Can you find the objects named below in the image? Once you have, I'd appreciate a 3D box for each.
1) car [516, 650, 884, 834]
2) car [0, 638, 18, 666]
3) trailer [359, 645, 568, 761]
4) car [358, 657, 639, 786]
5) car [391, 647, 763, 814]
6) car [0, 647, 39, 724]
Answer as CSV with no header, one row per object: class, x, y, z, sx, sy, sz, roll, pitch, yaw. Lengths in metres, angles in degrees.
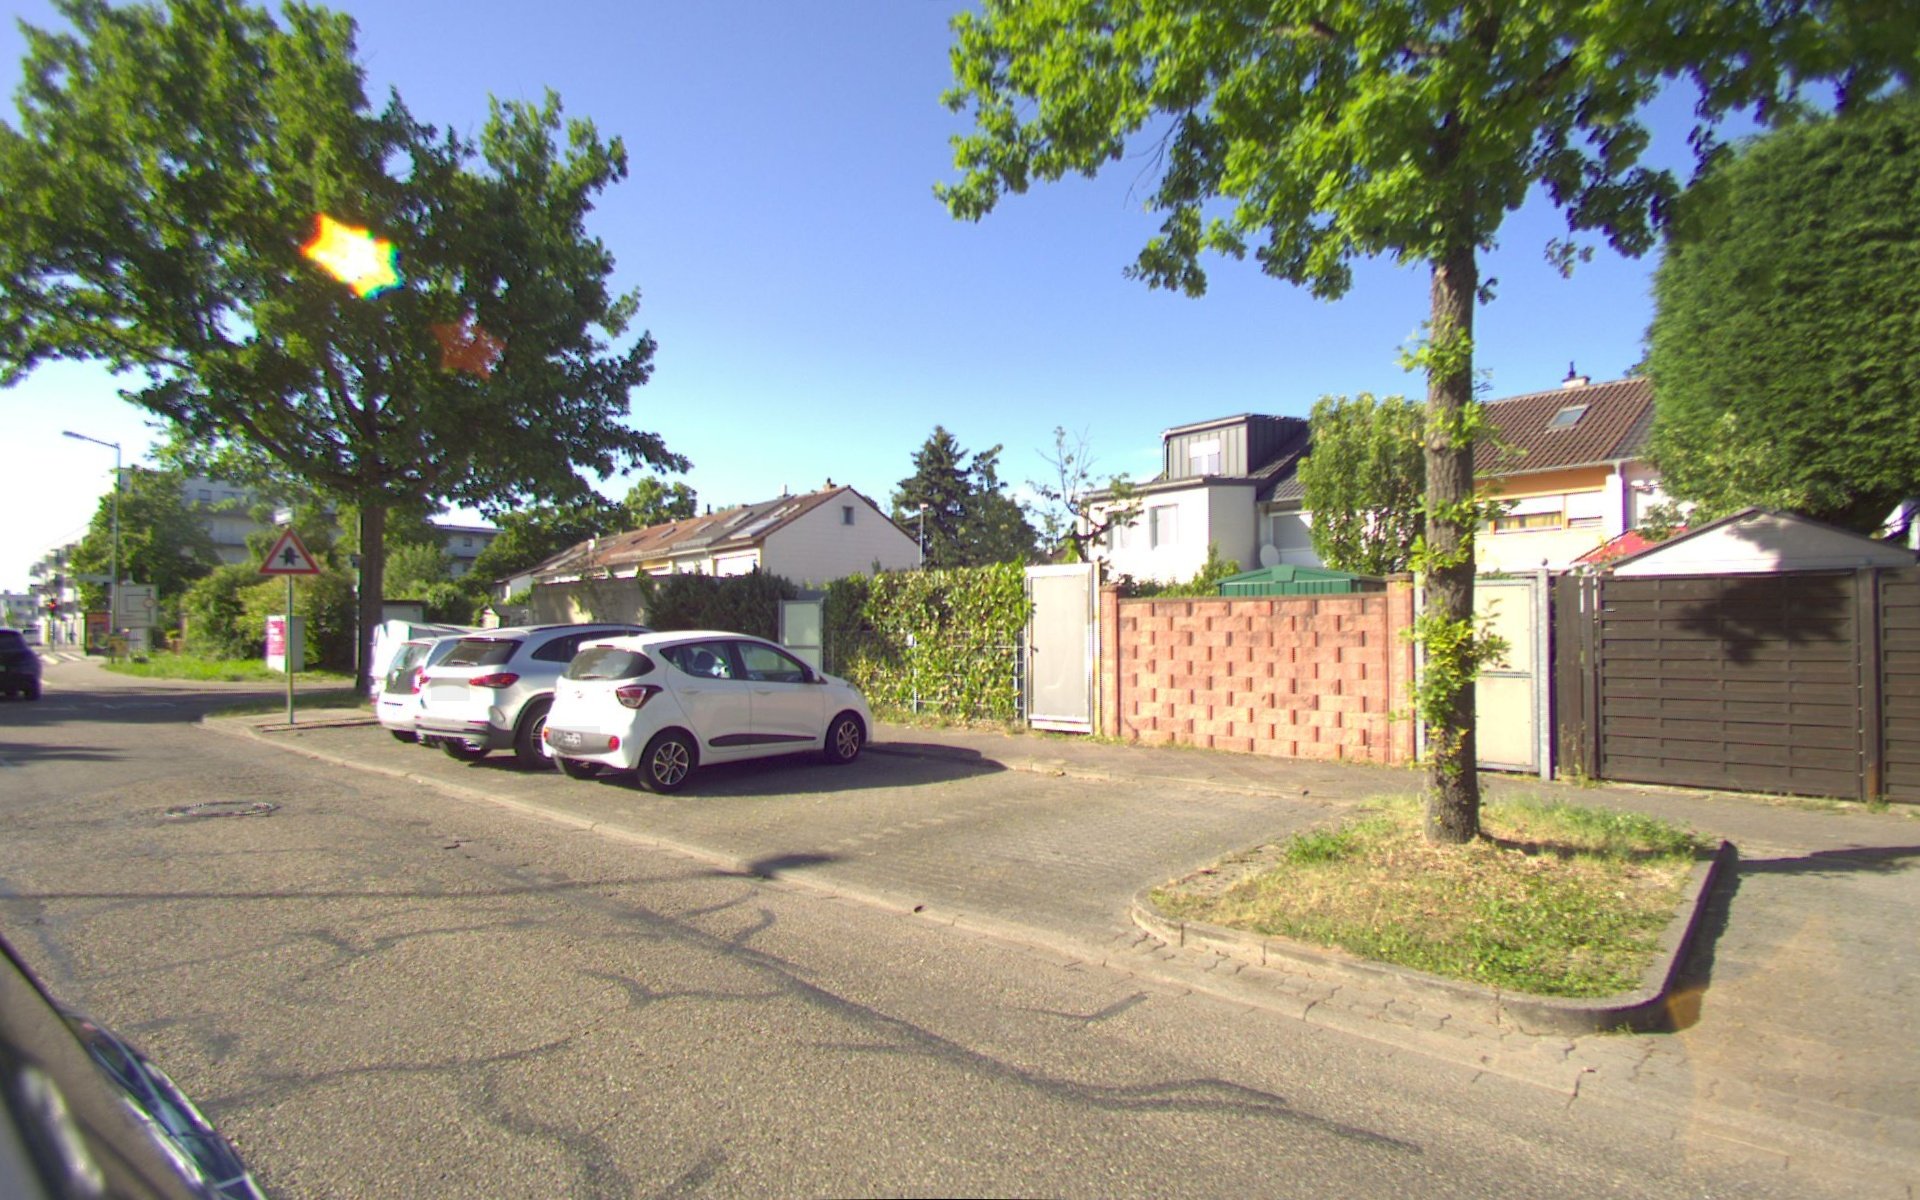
car,-2.613,1.341,10.771,1.706,1.507,3.480,-1,-2,38
car,-52.570,2.844,55.009,3.851,1.489,1.741,-3,-3,43
trailer,-7.972,1.586,16.408,1.297,1.660,2.734,0,-2,36
car,-6.465,1.612,14.391,1.615,1.489,3.260,-1,-2,42
car,-4.511,1.430,12.467,1.917,1.586,3.920,-1,-2,34
car,-21.070,1.772,21.510,3.944,1.552,1.719,-2,-4,41
